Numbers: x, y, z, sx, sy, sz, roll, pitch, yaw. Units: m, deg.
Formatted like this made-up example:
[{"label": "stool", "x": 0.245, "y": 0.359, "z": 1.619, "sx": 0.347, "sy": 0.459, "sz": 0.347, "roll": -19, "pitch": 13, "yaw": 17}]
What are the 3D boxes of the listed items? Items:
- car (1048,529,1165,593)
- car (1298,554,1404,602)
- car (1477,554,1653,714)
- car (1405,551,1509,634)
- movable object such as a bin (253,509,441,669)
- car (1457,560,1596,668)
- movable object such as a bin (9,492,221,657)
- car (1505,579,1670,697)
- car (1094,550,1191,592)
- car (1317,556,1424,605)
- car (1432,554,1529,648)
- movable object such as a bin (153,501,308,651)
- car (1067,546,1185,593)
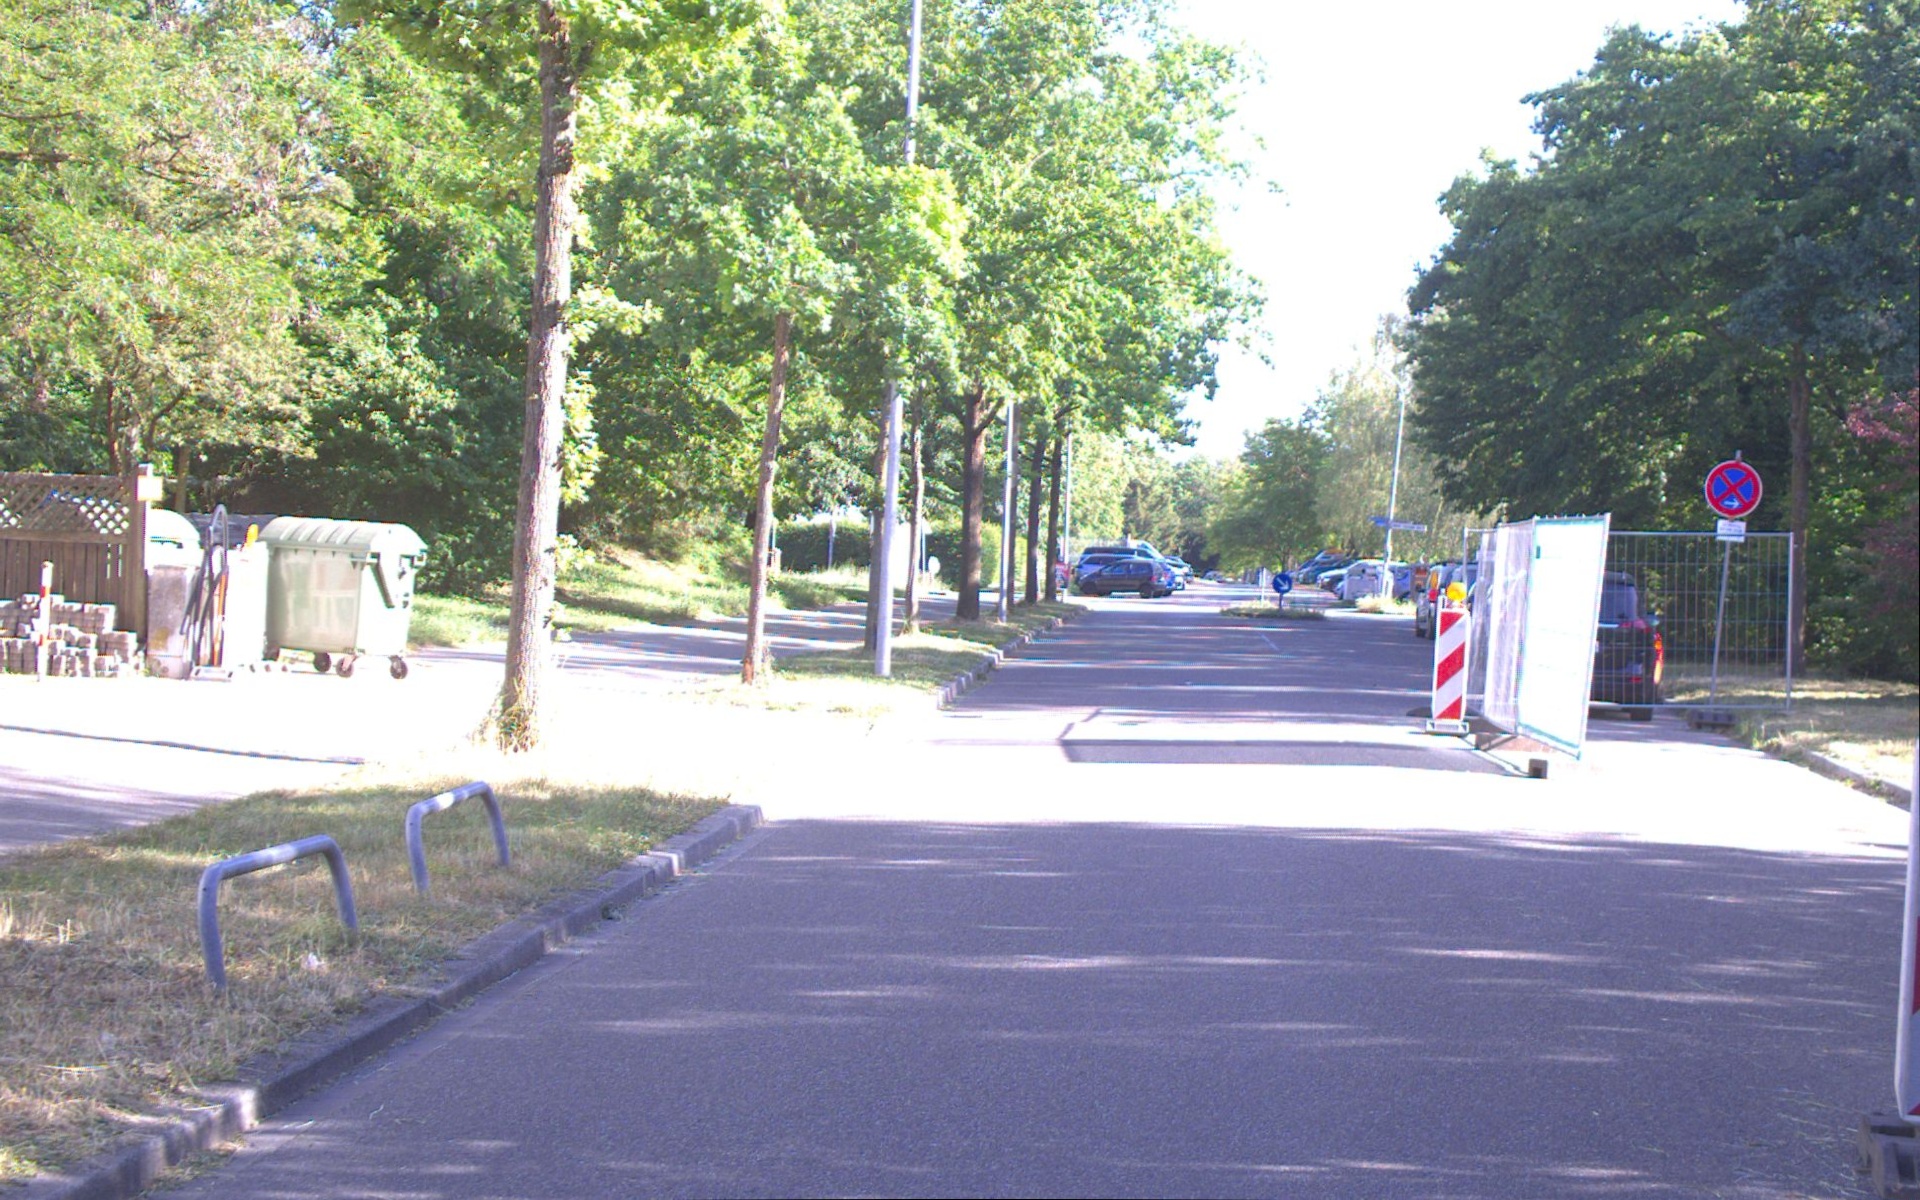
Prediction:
[{"label": "car", "x": 6.869, "y": -1.826, "z": 161.675, "sx": 5.200, "sy": 2.612, "sz": 2.294, "roll": 4, "pitch": 1, "yaw": 0}, {"label": "car", "x": 15.234, "y": -0.860, "z": 133.874, "sx": 3.840, "sy": 1.571, "sz": 1.687, "roll": 4, "pitch": 1, "yaw": 11}, {"label": "car", "x": 7.050, "y": 0.359, "z": 40.352, "sx": 1.811, "sy": 1.645, "sz": 4.419, "roll": 4, "pitch": 1, "yaw": 9}, {"label": "car", "x": 11.786, "y": -0.207, "z": 81.759, "sx": 1.791, "sy": 1.779, "sz": 4.557, "roll": 4, "pitch": 1, "yaw": 1}, {"label": "movable object such as a bin", "x": -5.752, "y": -0.105, "z": 32.315, "sx": 1.270, "sy": 1.430, "sz": 1.180, "roll": 2, "pitch": 1, "yaw": 21}, {"label": "car", "x": 9.436, "y": 0.204, "z": 57.546, "sx": 1.776, "sy": 1.616, "sz": 4.064, "roll": 4, "pitch": 1, "yaw": 3}, {"label": "movable object such as a bin", "x": -7.680, "y": -0.234, "z": 31.273, "sx": 1.271, "sy": 1.430, "sz": 1.323, "roll": 3, "pitch": 1, "yaw": 33}, {"label": "car", "x": 8.380, "y": 0.475, "z": 46.186, "sx": 1.662, "sy": 1.371, "sz": 4.154, "roll": 4, "pitch": 1, "yaw": 4}, {"label": "car", "x": 8.118, "y": -1.280, "z": 152.875, "sx": 4.108, "sy": 1.571, "sz": 1.958, "roll": 4, "pitch": 1, "yaw": 7}, {"label": "car", "x": 15.658, "y": -0.733, "z": 131.001, "sx": 3.840, "sy": 1.571, "sz": 1.687, "roll": 4, "pitch": 1, "yaw": 11}, {"label": "car", "x": 10.665, "y": -0.004, "z": 70.617, "sx": 1.623, "sy": 1.767, "sz": 3.668, "roll": 4, "pitch": 1, "yaw": 5}, {"label": "movable object such as a bin", "x": -7.244, "y": -0.246, "z": 34.098, "sx": 1.141, "sy": 1.430, "sz": 1.273, "roll": 2, "pitch": 1, "yaw": -29}, {"label": "car", "x": 6.595, "y": -1.206, "z": 136.356, "sx": 4.320, "sy": 1.571, "sz": 2.045, "roll": 4, "pitch": 1, "yaw": 12}]
